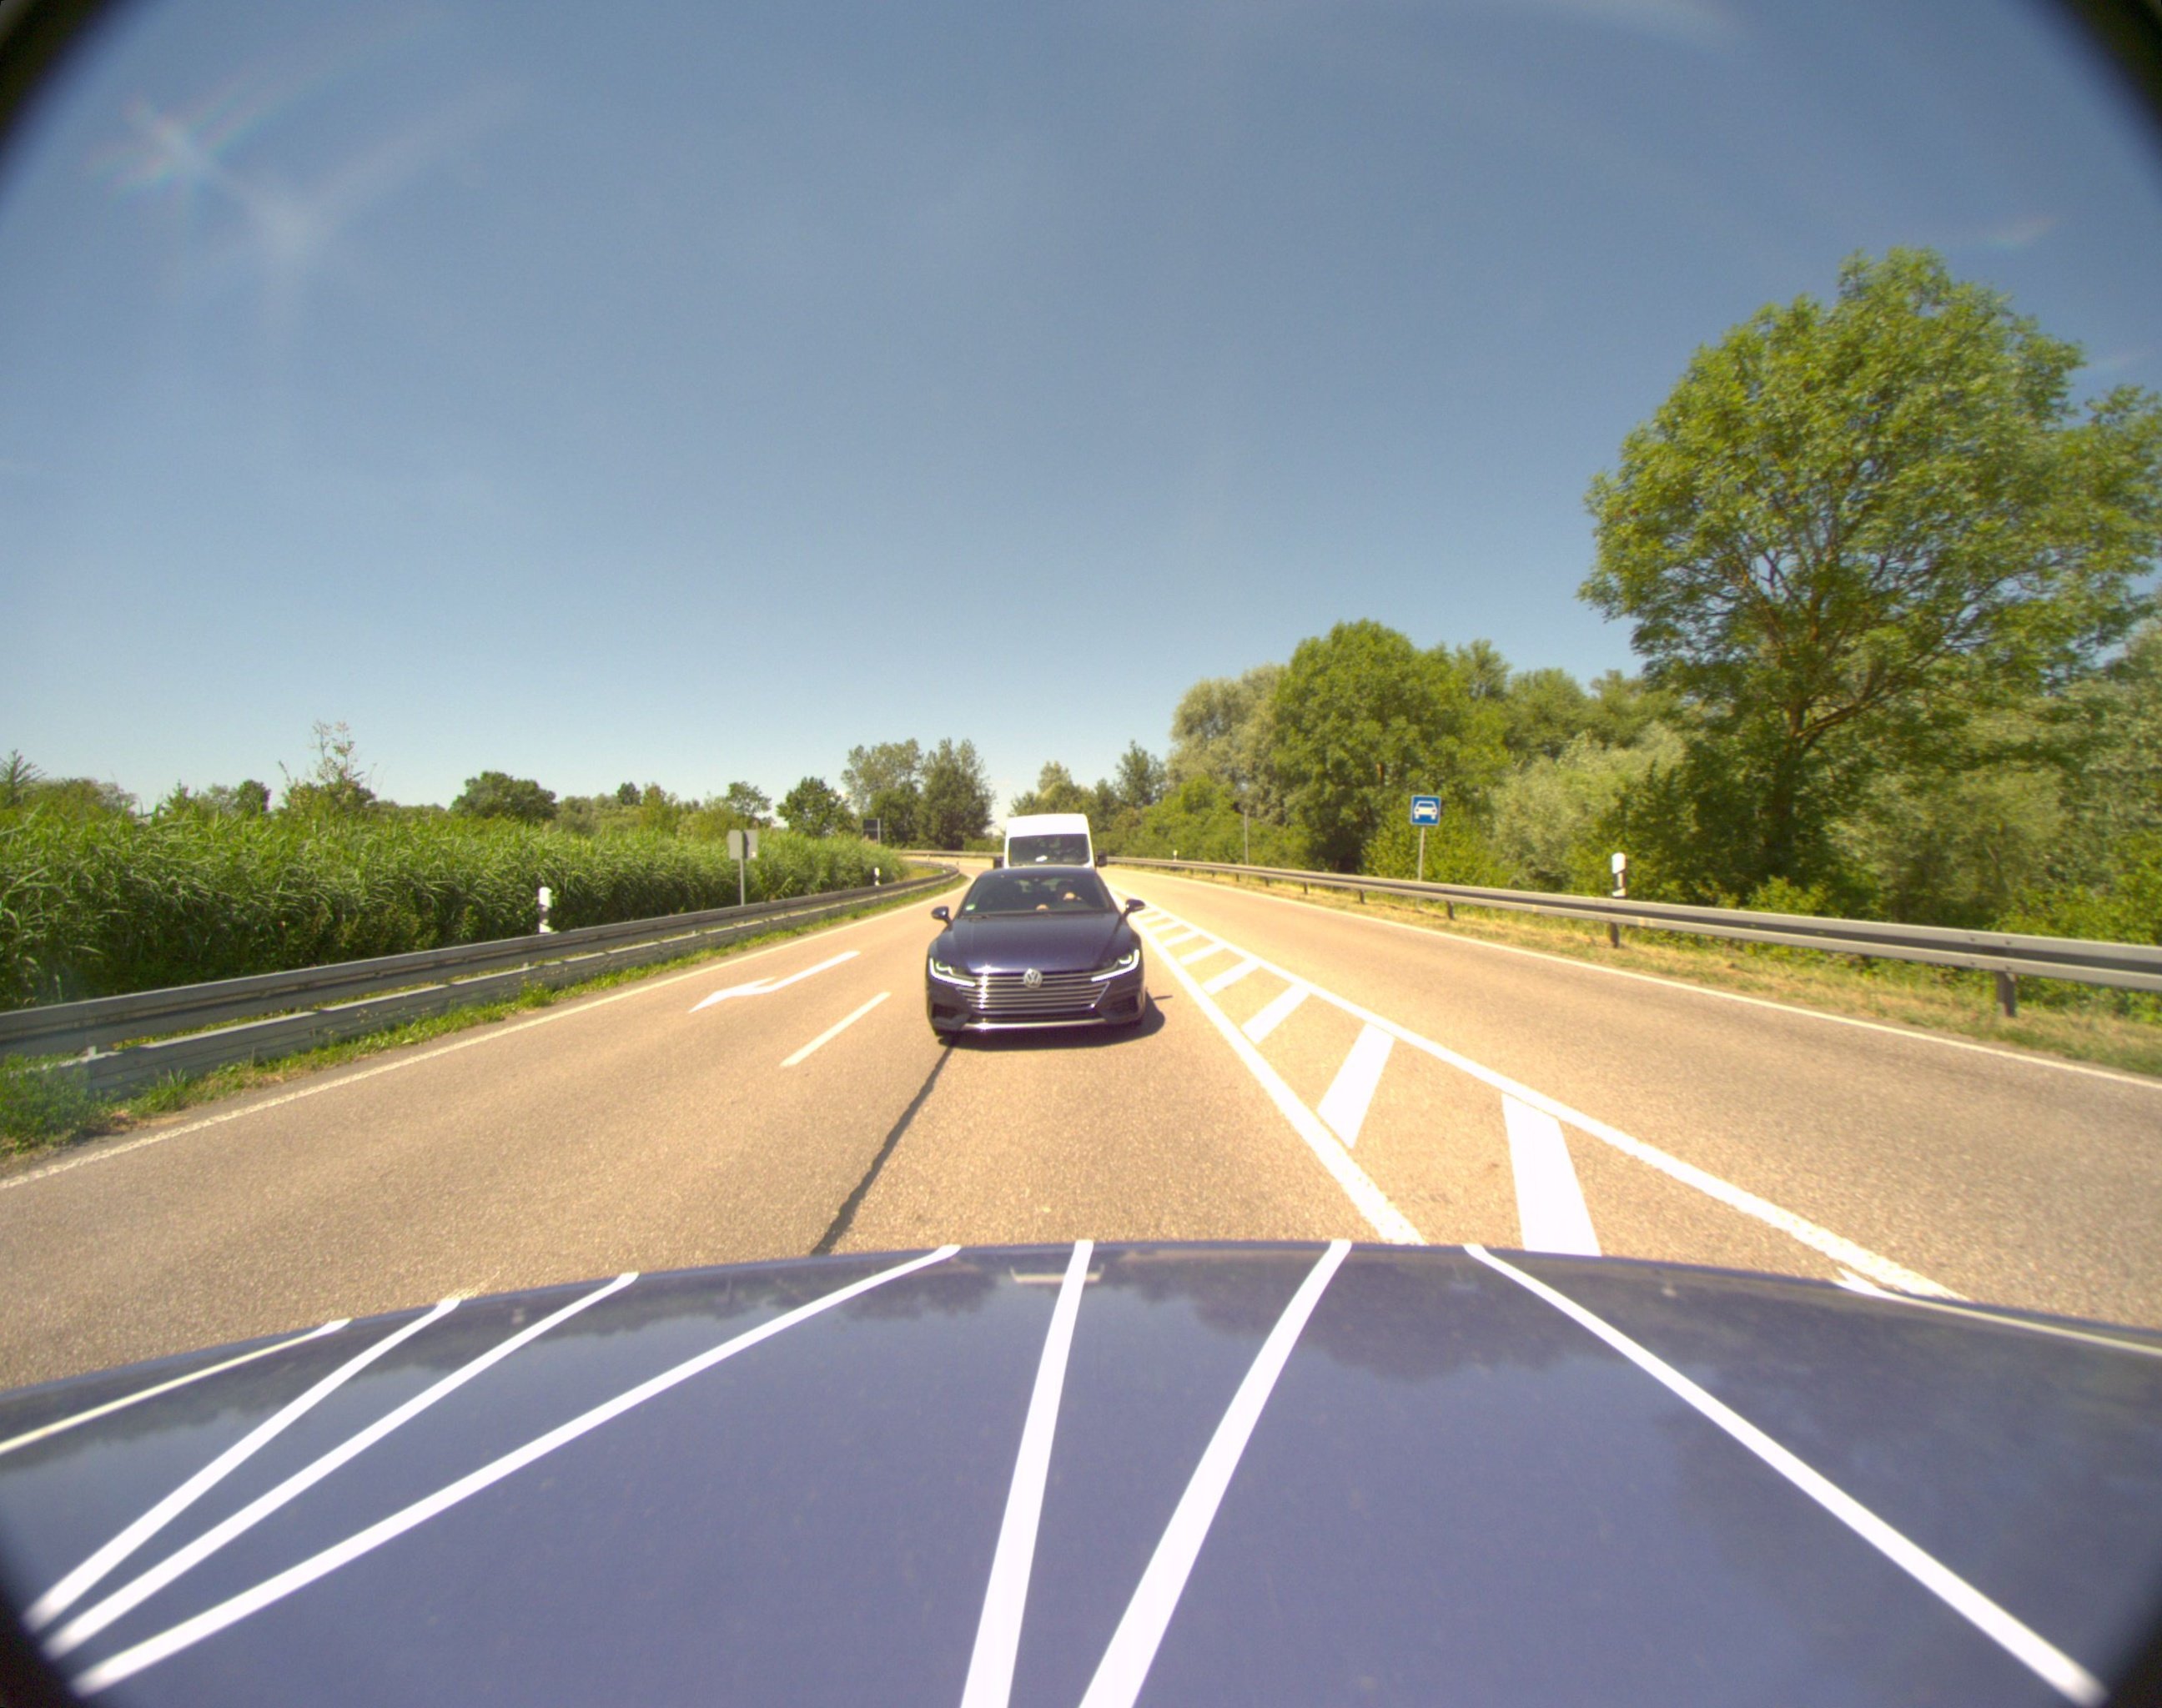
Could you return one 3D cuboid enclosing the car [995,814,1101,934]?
[{"bbox_3d":[-0.657,0.377,18.295,2.059,2.376,5.826,-2,1,0],"label":"car"}]

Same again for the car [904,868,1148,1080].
[{"bbox_3d":[-0.398,0.932,7.635,1.761,1.401,3.999,-2,1,0],"label":"car"}]
